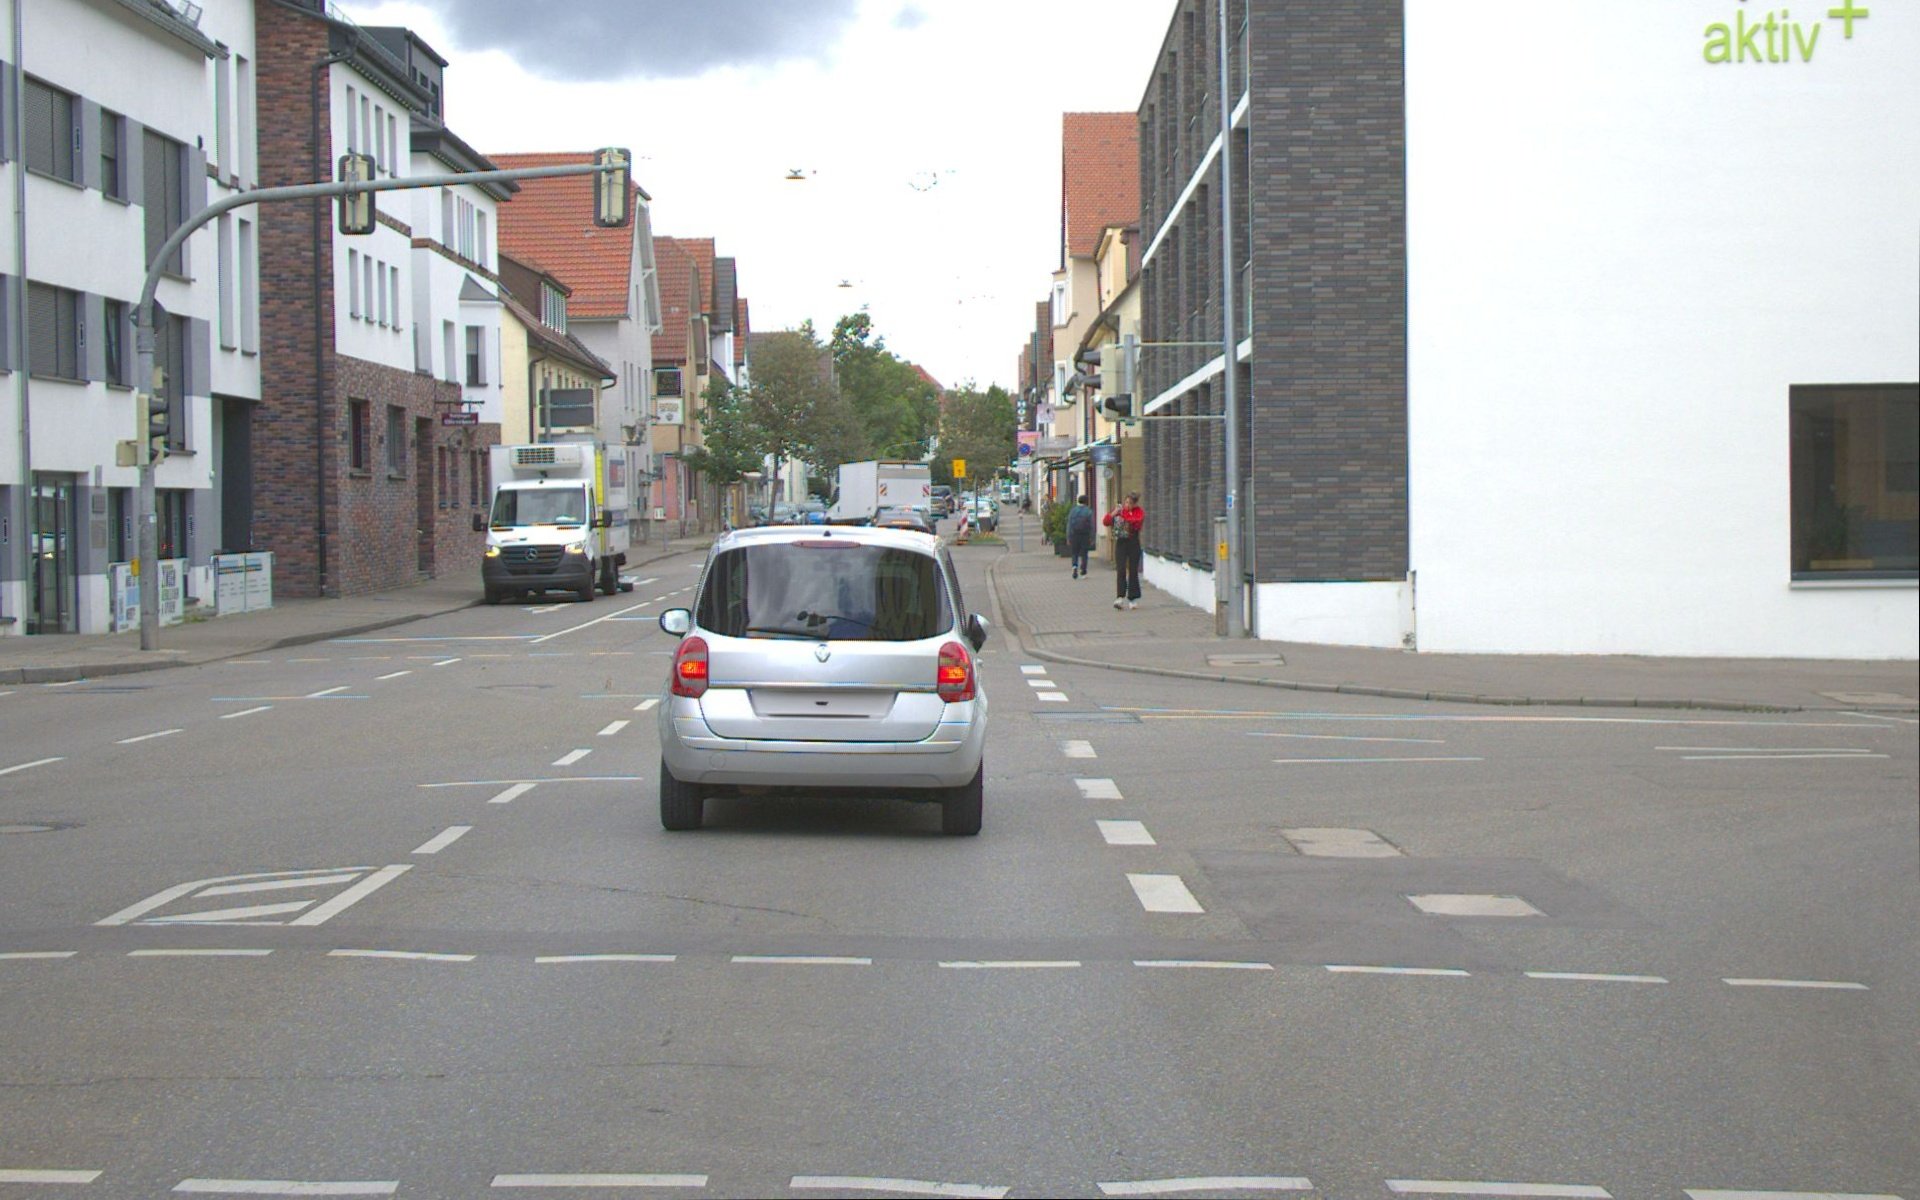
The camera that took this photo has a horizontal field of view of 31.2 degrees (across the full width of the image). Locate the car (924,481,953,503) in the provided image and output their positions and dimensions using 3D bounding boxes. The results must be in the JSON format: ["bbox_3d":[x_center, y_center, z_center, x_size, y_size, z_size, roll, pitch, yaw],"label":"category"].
[{"bbox_3d":[-1.427,-7.112,226.063,1.812,1.349,4.000,-2,2,0],"label":"car"}]

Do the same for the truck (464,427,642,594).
[{"bbox_3d":[-7.720,-1.749,66.093,2.435,2.943,8.365,-2,2,-1],"label":"truck"}]

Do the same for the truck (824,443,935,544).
[{"bbox_3d":[-3.189,-4.170,134.664,2.595,3.844,6.851,-1,2,-16],"label":"truck"}]

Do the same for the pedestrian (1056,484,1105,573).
[{"bbox_3d":[2.490,-1.493,71.214,0.889,1.780,0.785,-4,2,0],"label":"pedestrian"}]

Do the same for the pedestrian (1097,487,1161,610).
[{"bbox_3d":[2.528,-0.783,51.526,0.807,1.780,0.861,-4,2,0],"label":"pedestrian"}]

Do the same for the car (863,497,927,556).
[{"bbox_3d":[-1.788,-2.066,95.624,1.706,1.573,4.001,1,2,-1],"label":"car"}]

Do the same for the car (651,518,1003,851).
[{"bbox_3d":[-0.676,0.369,18.892,1.706,1.573,4.001,1,2,-1],"label":"car"}]

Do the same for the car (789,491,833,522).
[{"bbox_3d":[-6.829,-4.316,158.144,1.812,1.349,4.000,-2,2,0],"label":"car"}]

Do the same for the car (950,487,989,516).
[{"bbox_3d":[0.456,-4.742,165.270,1.812,1.349,4.000,-2,2,0],"label":"car"}]
